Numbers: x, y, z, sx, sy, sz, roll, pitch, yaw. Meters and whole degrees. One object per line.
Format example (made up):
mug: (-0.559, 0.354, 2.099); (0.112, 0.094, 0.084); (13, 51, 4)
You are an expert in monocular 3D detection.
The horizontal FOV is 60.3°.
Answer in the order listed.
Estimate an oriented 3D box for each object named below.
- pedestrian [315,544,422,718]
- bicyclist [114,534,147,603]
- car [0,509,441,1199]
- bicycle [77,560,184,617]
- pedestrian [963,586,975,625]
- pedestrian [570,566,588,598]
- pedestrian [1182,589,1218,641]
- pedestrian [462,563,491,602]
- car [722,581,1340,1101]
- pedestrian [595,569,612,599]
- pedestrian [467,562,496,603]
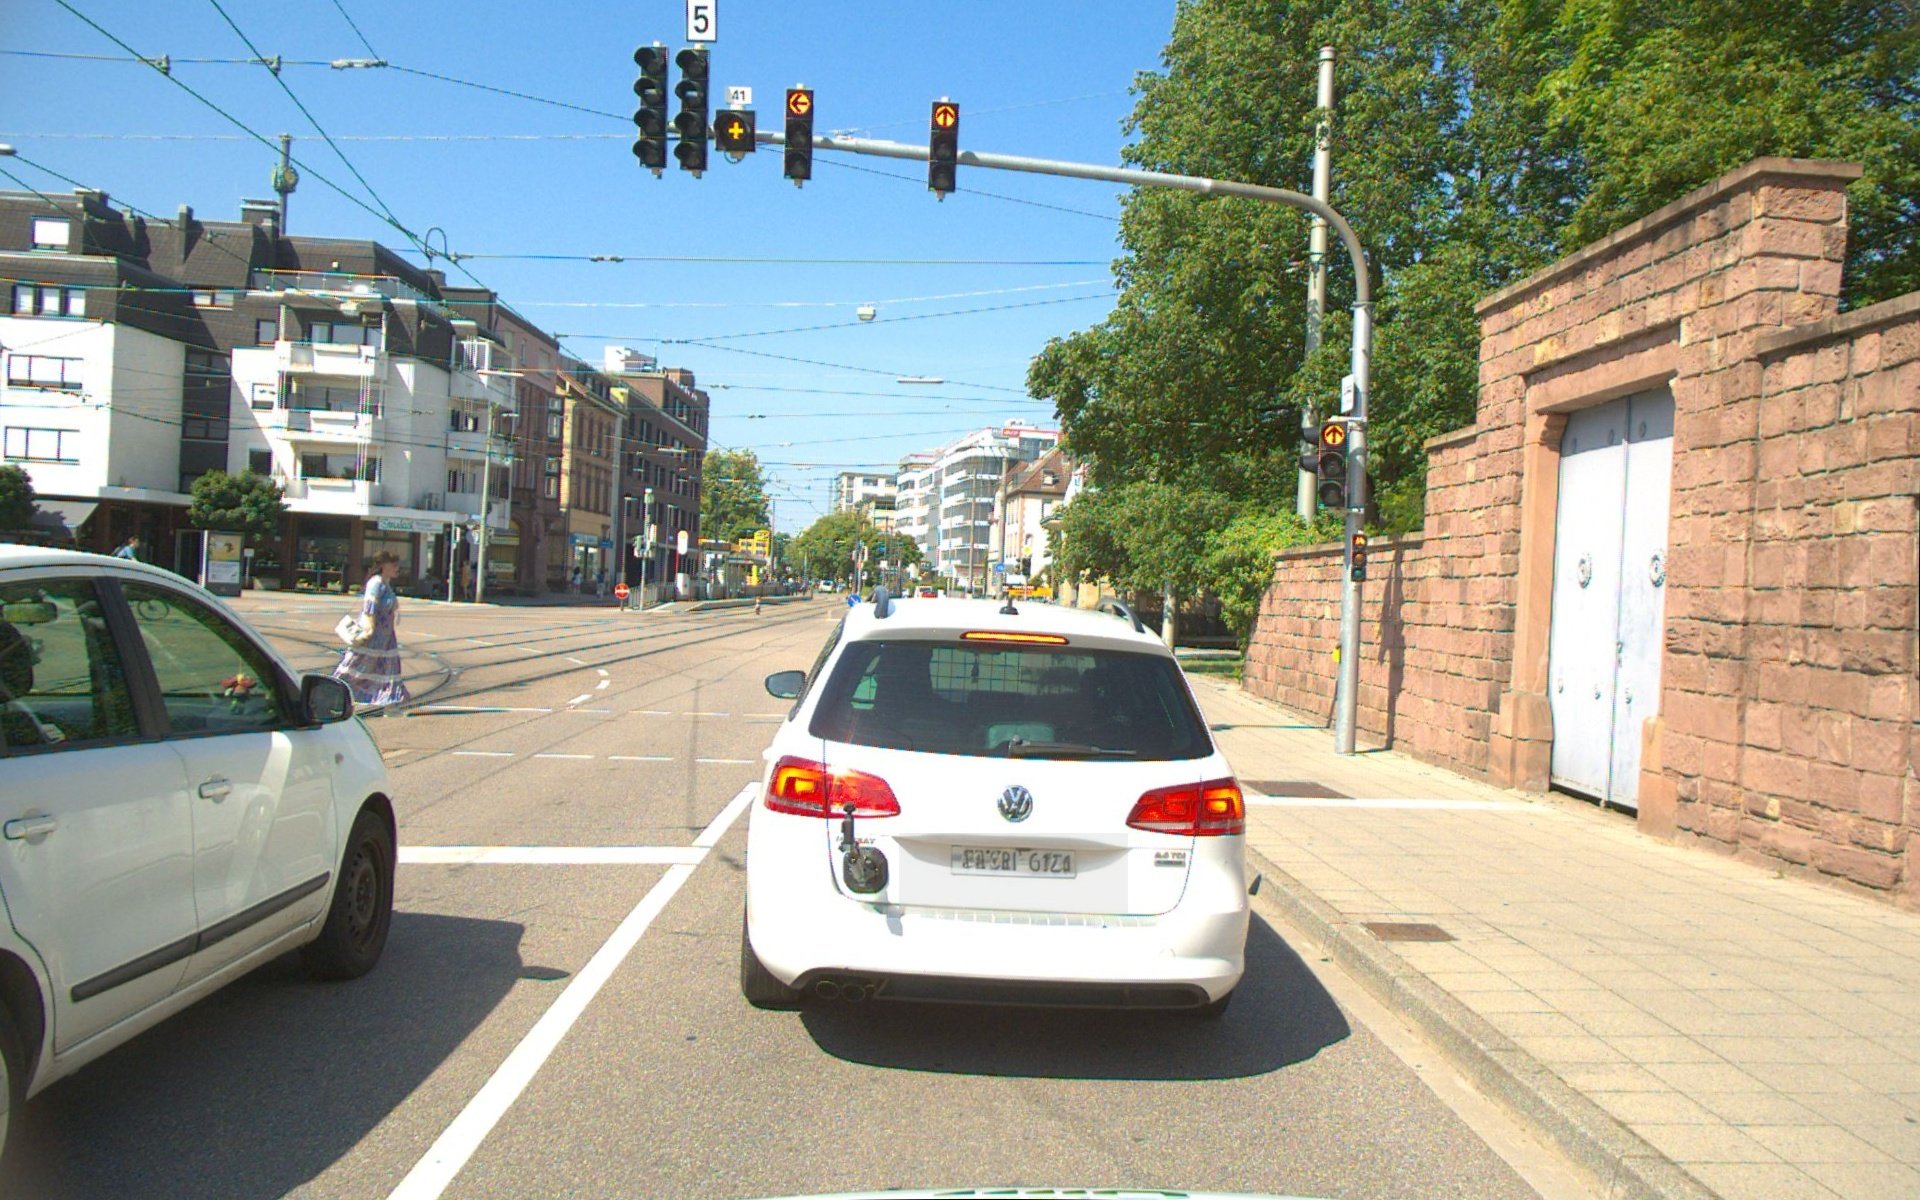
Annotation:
pedestrian: (-5.938, 0.309, 16.618); (0.957, 1.680, 0.950); (1, -1, -20)
bicyclist: (-19.897, -0.745, 39.670); (0.630, 1.641, 0.556); (1, -1, -33)
car: (-2.856, 0.567, 4.695); (1.608, 1.593, 3.803); (1, 1, -1)
bicycle: (-19.886, -0.273, 39.669); (2.222, 1.320, 0.553); (1, -1, -34)
pedestrian: (0.557, 0.344, 102.722); (0.675, 2.366, 1.232); (1, -1, 0)
pedestrian: (-21.203, -1.012, 92.068); (0.845, 1.773, 0.973); (1, -1, -6)
pedestrian: (8.314, 0.519, 57.408); (0.851, 1.773, 0.967); (1, -1, -25)
pedestrian: (-21.838, -0.789, 74.764); (0.843, 1.773, 0.975); (0, -1, 17)
car: (0.178, 0.693, 6.839); (1.771, 1.473, 3.999); (2, 0, -1)
pedestrian: (-21.167, -0.946, 98.169); (0.845, 1.773, 0.973); (1, -1, -6)
pedestrian: (-21.097, -0.766, 72.963); (0.966, 1.773, 0.851); (1, -1, -41)
